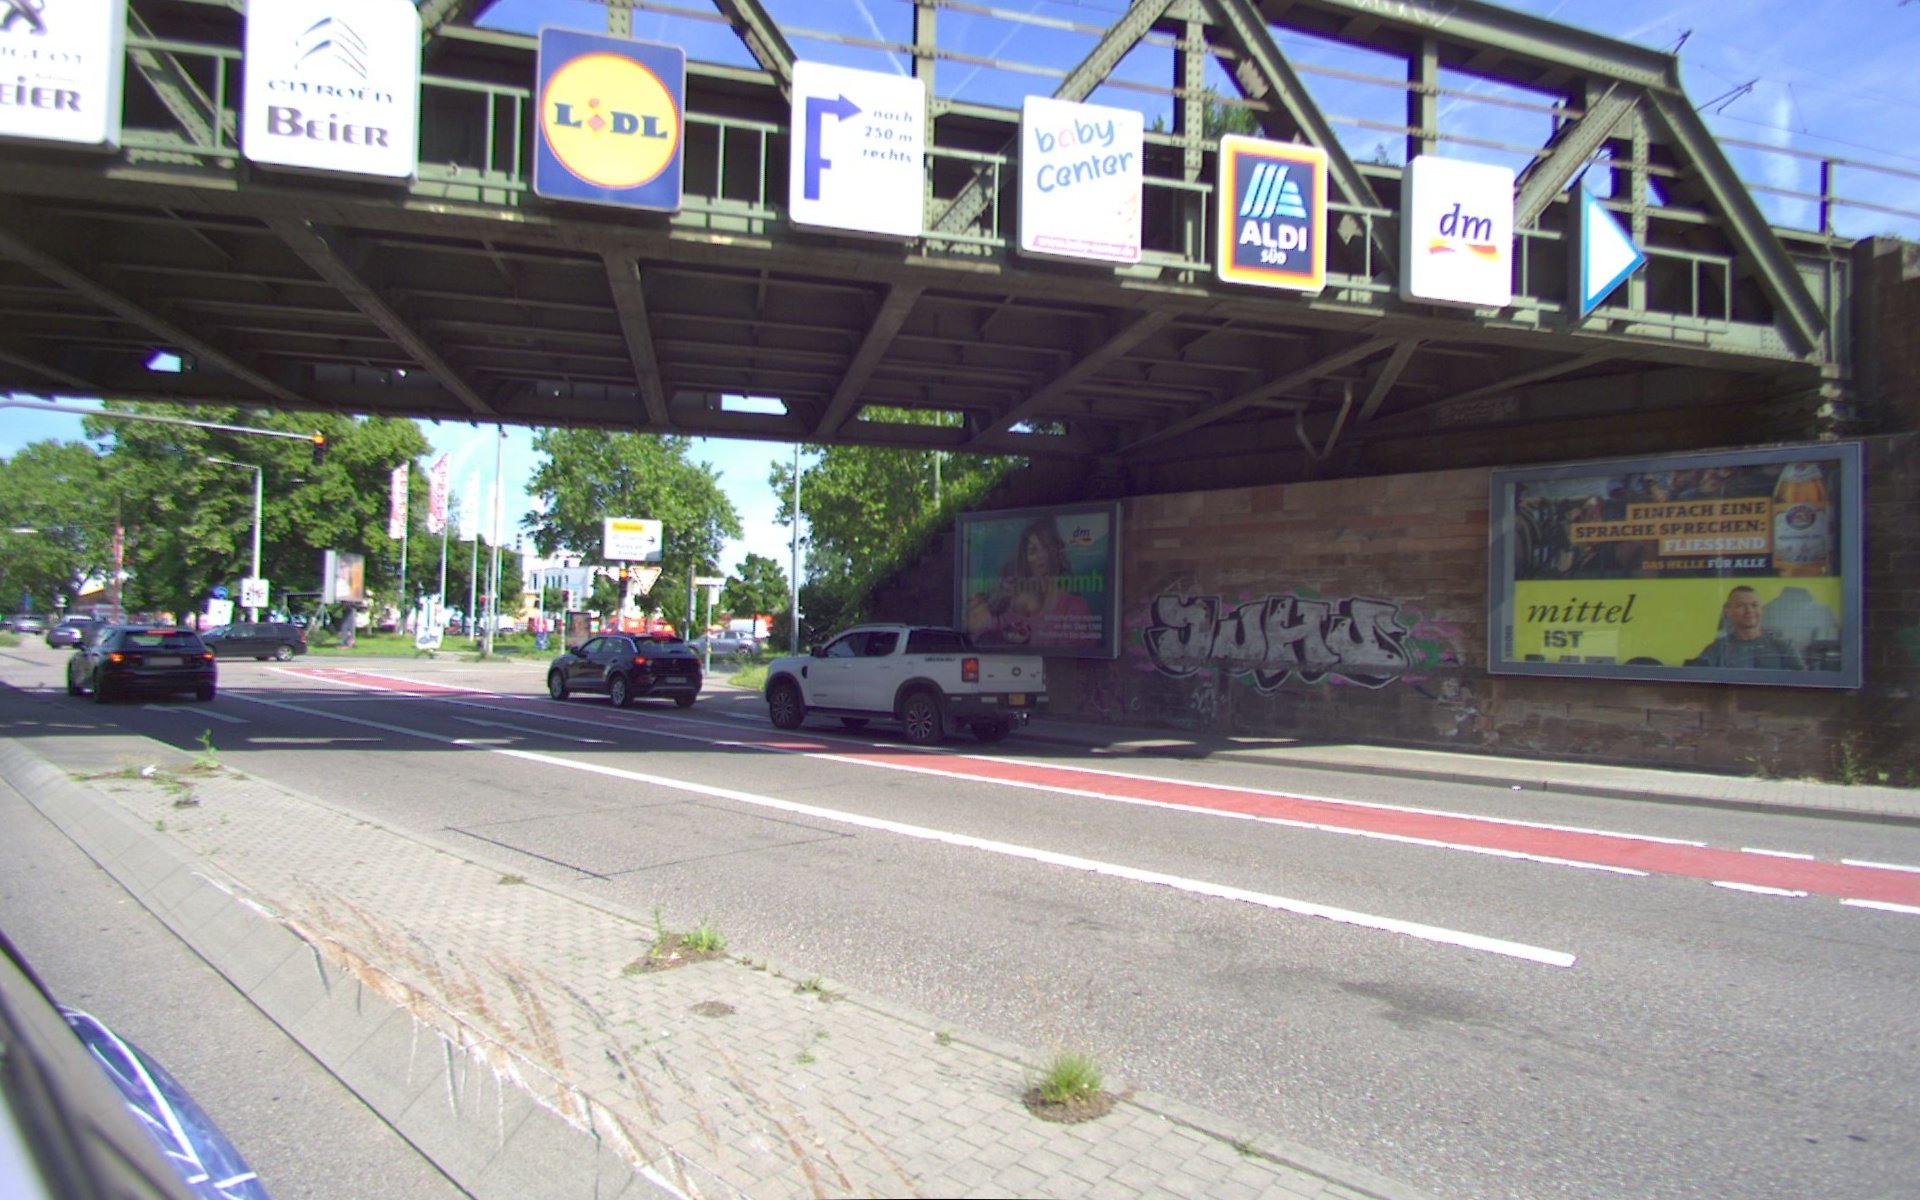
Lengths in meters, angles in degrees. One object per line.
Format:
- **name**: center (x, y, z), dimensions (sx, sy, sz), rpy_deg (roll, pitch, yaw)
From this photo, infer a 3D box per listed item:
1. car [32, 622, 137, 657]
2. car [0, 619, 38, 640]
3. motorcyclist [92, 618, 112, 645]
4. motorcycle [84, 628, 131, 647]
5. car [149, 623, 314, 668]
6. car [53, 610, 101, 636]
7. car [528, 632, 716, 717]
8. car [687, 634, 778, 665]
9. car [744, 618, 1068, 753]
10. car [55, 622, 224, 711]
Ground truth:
- **car**: center (-44.108, 2.016, 51.145), dimensions (1.796, 1.654, 4.685), rpy_deg (2, -3, -10)
- **car**: center (-78.354, 2.437, 84.140), dimensions (3.820, 1.735, 1.904), rpy_deg (-1, -1, 38)
- **motorcyclist**: center (-50.738, 1.859, 59.828), dimensions (0.628, 1.540, 0.638), rpy_deg (0, -1, 20)
- **motorcycle**: center (-50.591, 2.207, 60.084), dimensions (0.773, 1.092, 1.971), rpy_deg (0, -2, 19)
- **car**: center (-28.047, 1.782, 39.095), dimensions (1.702, 1.585, 4.861), rpy_deg (0, -3, 39)
- **car**: center (-60.175, 1.556, 68.941), dimensions (3.632, 1.735, 1.802), rpy_deg (-1, -1, 38)
- **car**: center (-7.415, 1.545, 22.010), dimensions (4.384, 1.608, 1.853), rpy_deg (-1, -3, 41)
- **car**: center (-11.590, 2.525, 51.544), dimensions (4.384, 1.426, 1.708), rpy_deg (2, -2, -14)
- **car**: center (-1.049, 1.306, 16.753), dimensions (5.447, 1.875, 1.973), rpy_deg (-1, -5, 41)
- **car**: center (-15.599, 1.192, 19.174), dimensions (4.118, 1.458, 1.762), rpy_deg (0, -3, 41)
